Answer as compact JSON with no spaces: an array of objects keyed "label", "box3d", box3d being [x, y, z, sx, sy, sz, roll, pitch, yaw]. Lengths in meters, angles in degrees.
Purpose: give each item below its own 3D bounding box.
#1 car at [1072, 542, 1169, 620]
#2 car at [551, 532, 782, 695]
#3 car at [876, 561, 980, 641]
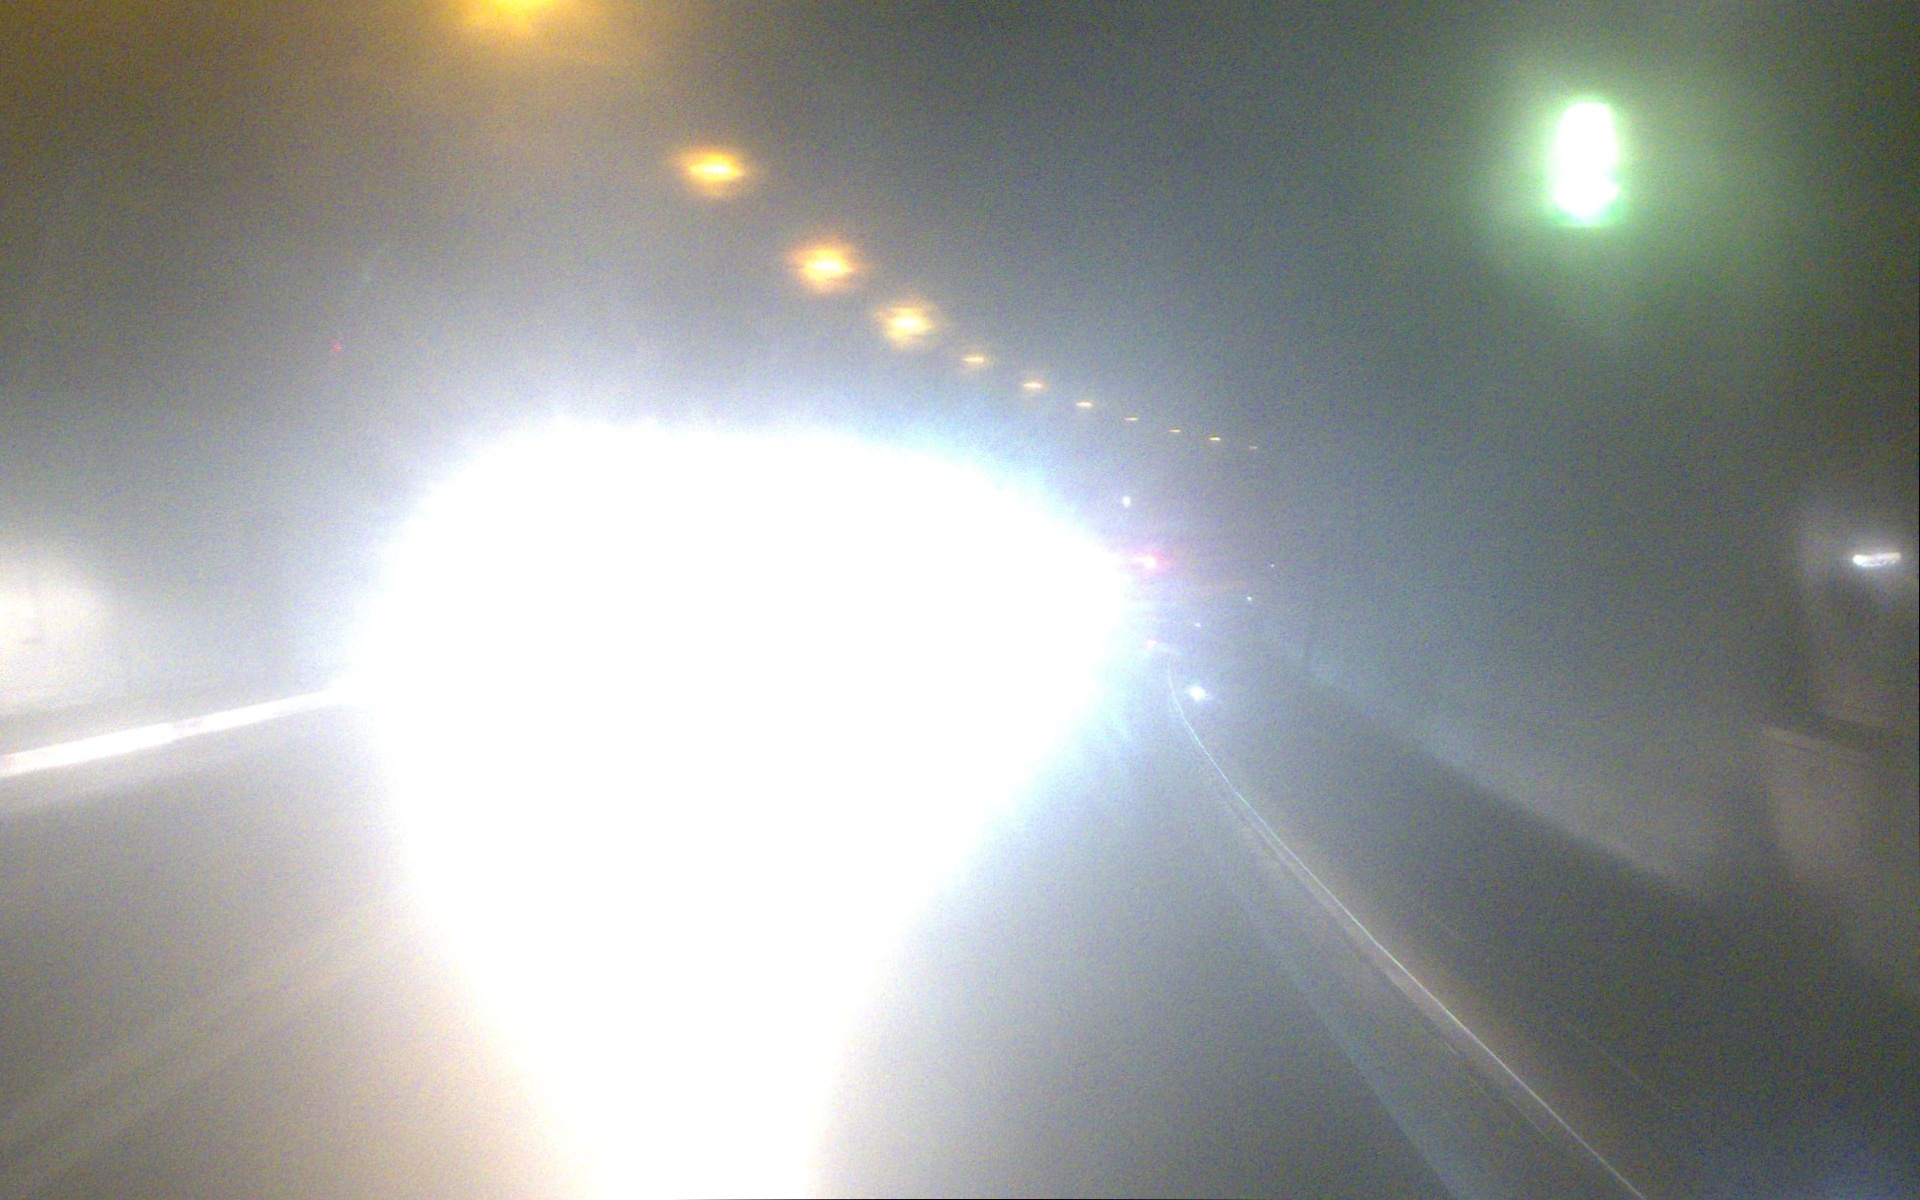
[{"label":"car","box3d":[3.545,-0.446,76.703,1.993,1.645,4.000,1,1,1]},{"label":"car","box3d":[-3.131,0.105,37.469,1.994,1.645,4.000,1,1,2]},{"label":"car","box3d":[-0.636,-0.003,65.640,1.845,1.469,4.001,0,1,-3]}]
